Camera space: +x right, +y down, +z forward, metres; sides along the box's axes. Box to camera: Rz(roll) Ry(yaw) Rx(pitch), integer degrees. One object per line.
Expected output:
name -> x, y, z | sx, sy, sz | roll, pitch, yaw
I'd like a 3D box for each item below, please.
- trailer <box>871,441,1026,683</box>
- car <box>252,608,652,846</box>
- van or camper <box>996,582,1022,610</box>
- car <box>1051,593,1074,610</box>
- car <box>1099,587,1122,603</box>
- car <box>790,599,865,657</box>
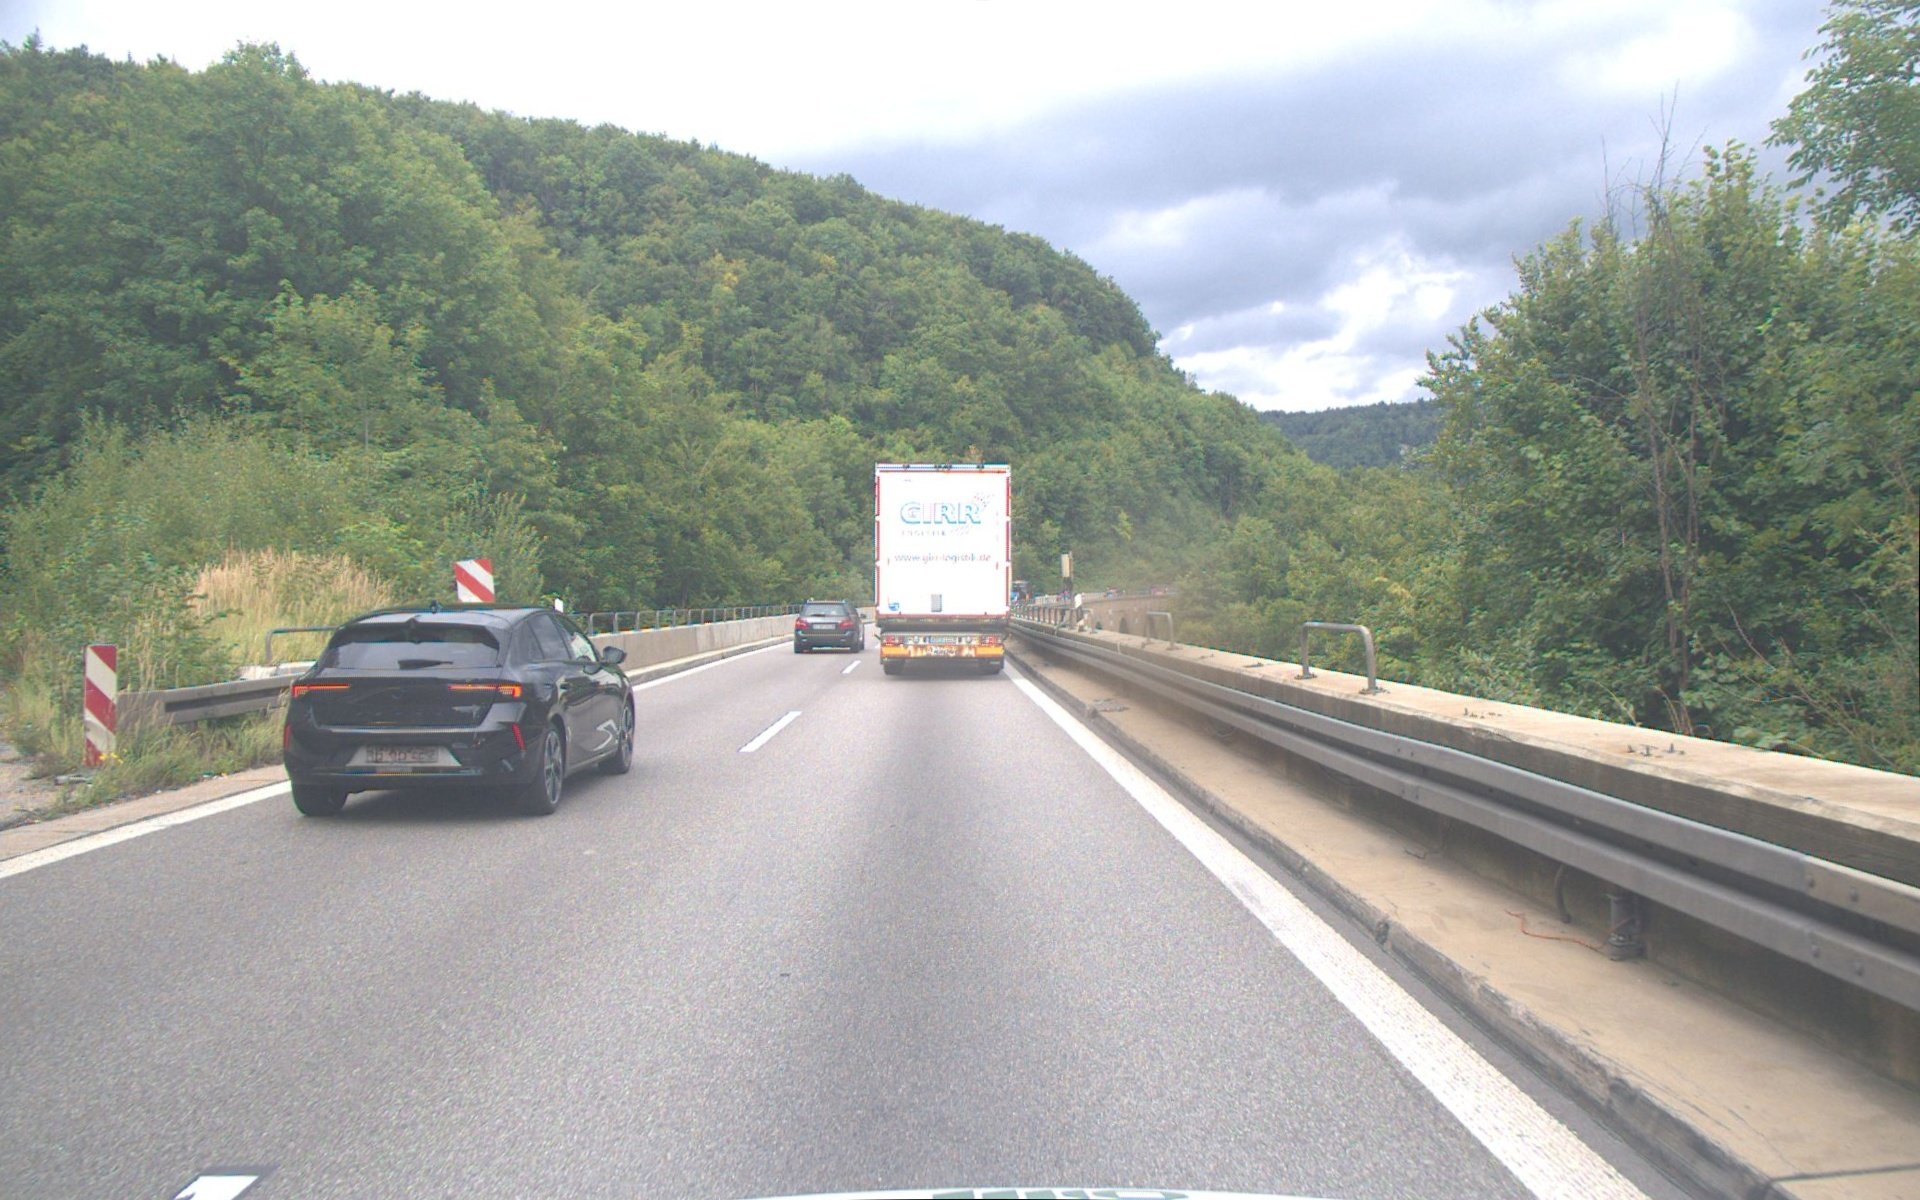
trailer -> -0.339, -0.643, 36.395 | 2.756, 4.378, 12.241 | -1, -1, -1
car -> -3.664, 0.817, 12.836 | 1.737, 1.486, 4.580 | 0, 0, -1
van or camper -> 4.845, -0.391, 163.061 | 1.951, 2.604, 4.003 | -1, -1, 10
car -> 10.773, 0.131, 173.620 | 1.951, 1.713, 4.003 | -1, -1, 9
car -> 18.320, -0.619, 201.807 | 1.952, 1.825, 4.002 | -1, -1, 18
car -> -3.749, 0.794, 47.338 | 1.845, 1.536, 4.417 | -1, -1, -1
